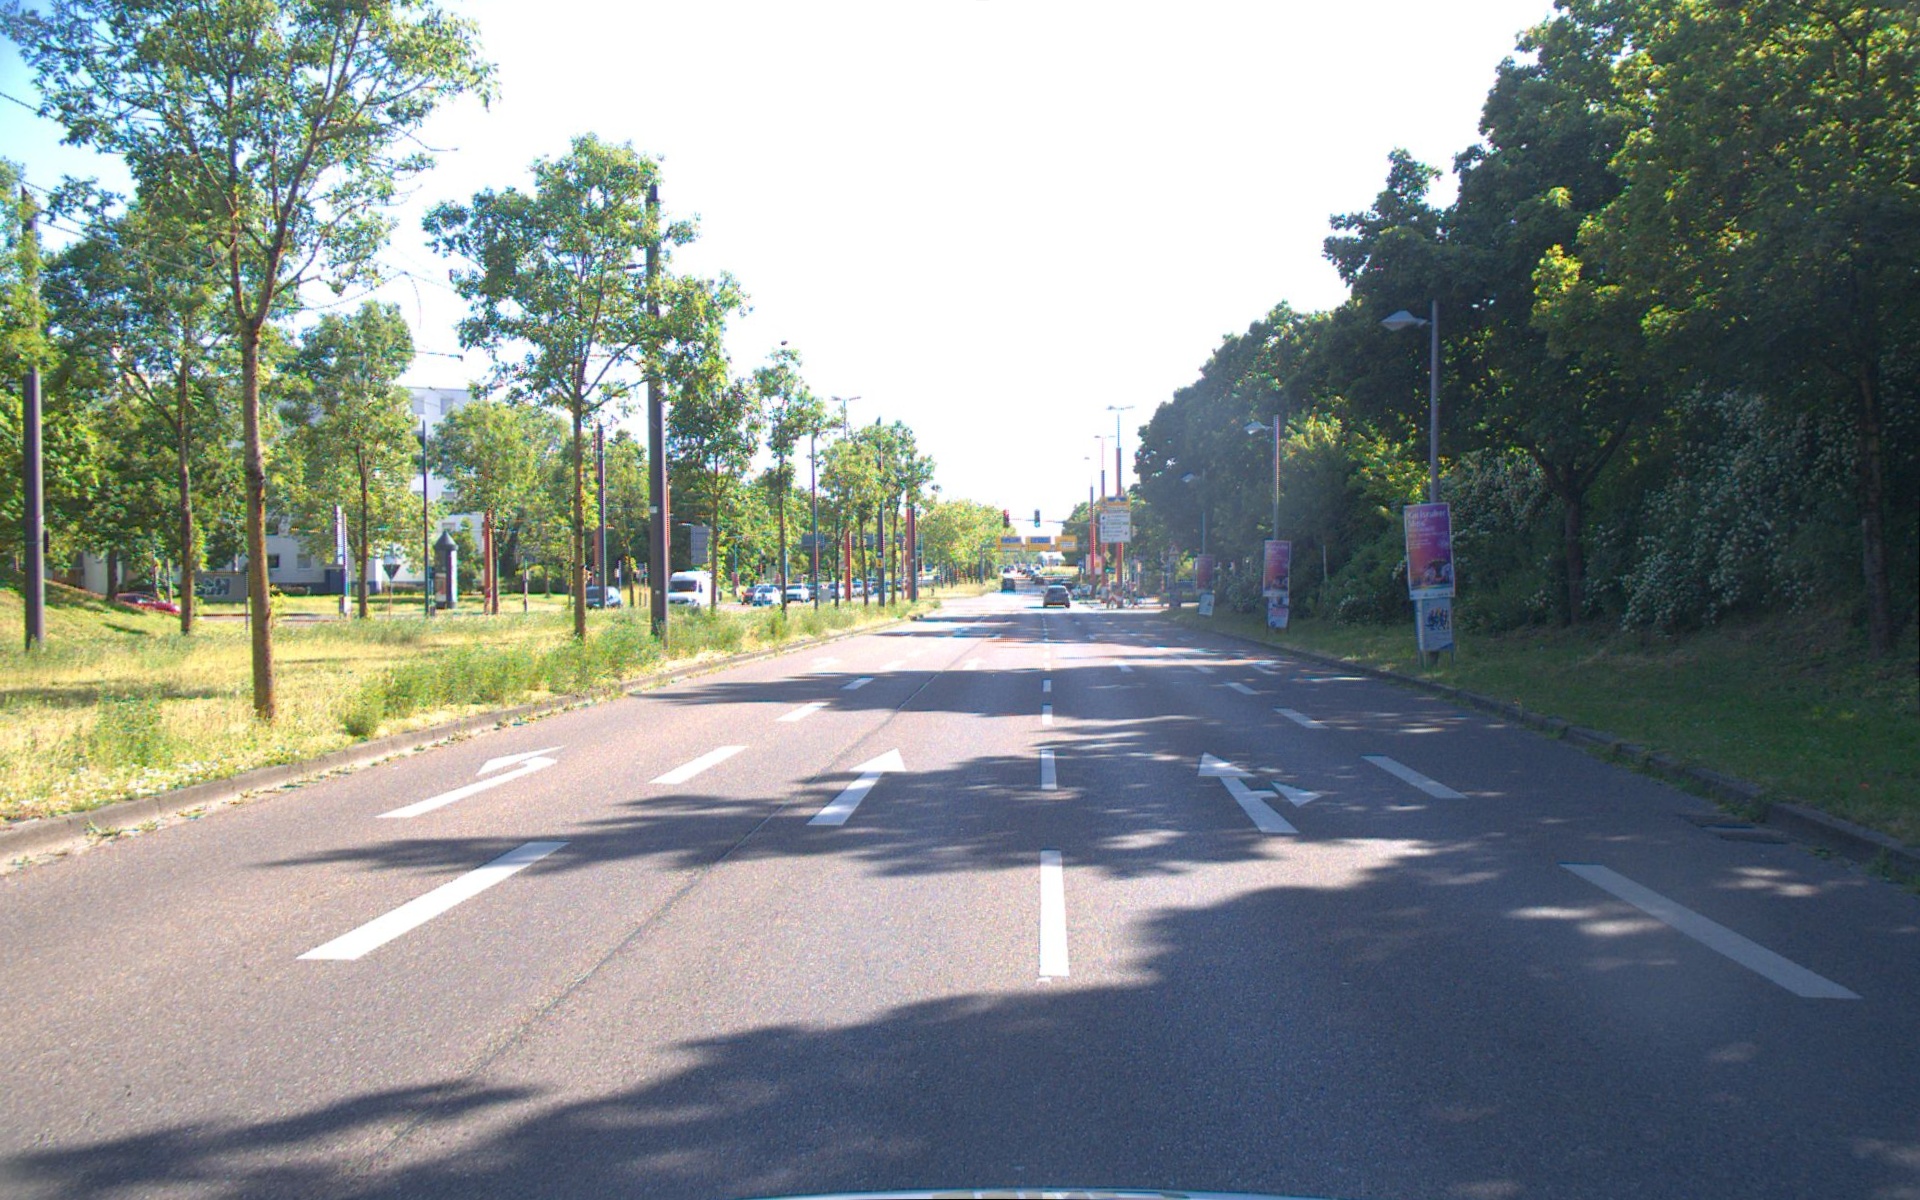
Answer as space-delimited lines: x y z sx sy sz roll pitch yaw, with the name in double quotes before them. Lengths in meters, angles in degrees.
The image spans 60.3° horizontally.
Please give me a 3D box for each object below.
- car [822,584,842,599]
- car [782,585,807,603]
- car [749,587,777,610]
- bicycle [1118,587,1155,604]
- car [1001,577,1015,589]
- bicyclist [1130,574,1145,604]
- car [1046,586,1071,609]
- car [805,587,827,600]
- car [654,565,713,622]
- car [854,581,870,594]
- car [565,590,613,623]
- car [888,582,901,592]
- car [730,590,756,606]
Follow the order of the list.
"car" -12.928 -0.851 167.187 1.597 1.471 4.192 0 1 1
"car" -14.119 -0.542 141.230 1.597 1.471 4.192 0 1 1
"car" -15.357 -0.116 128.840 1.597 1.710 4.192 0 1 1
"bicycle" 11.724 -0.282 110.026 2.364 1.129 0.812 0 0 2
"car" 6.136 -2.120 210.936 1.600 1.524 4.236 0 1 3
"bicyclist" 11.803 -0.735 110.022 0.988 2.042 0.812 0 0 2
"car" 6.619 -0.205 111.440 1.600 1.524 4.236 0 1 3
"car" -13.602 -0.612 156.204 1.597 1.130 4.192 0 1 1
"car" -16.602 -0.402 99.700 2.414 3.296 6.135 0 0 1
"car" -11.439 -1.446 193.641 1.597 1.471 4.192 0 1 1
"car" -19.988 0.350 89.334 1.597 1.710 4.192 0 1 1
"car" -9.358 -1.894 236.042 1.597 1.471 4.192 0 1 1
"car" -18.387 -0.170 140.365 1.597 1.311 4.099 0 1 1
